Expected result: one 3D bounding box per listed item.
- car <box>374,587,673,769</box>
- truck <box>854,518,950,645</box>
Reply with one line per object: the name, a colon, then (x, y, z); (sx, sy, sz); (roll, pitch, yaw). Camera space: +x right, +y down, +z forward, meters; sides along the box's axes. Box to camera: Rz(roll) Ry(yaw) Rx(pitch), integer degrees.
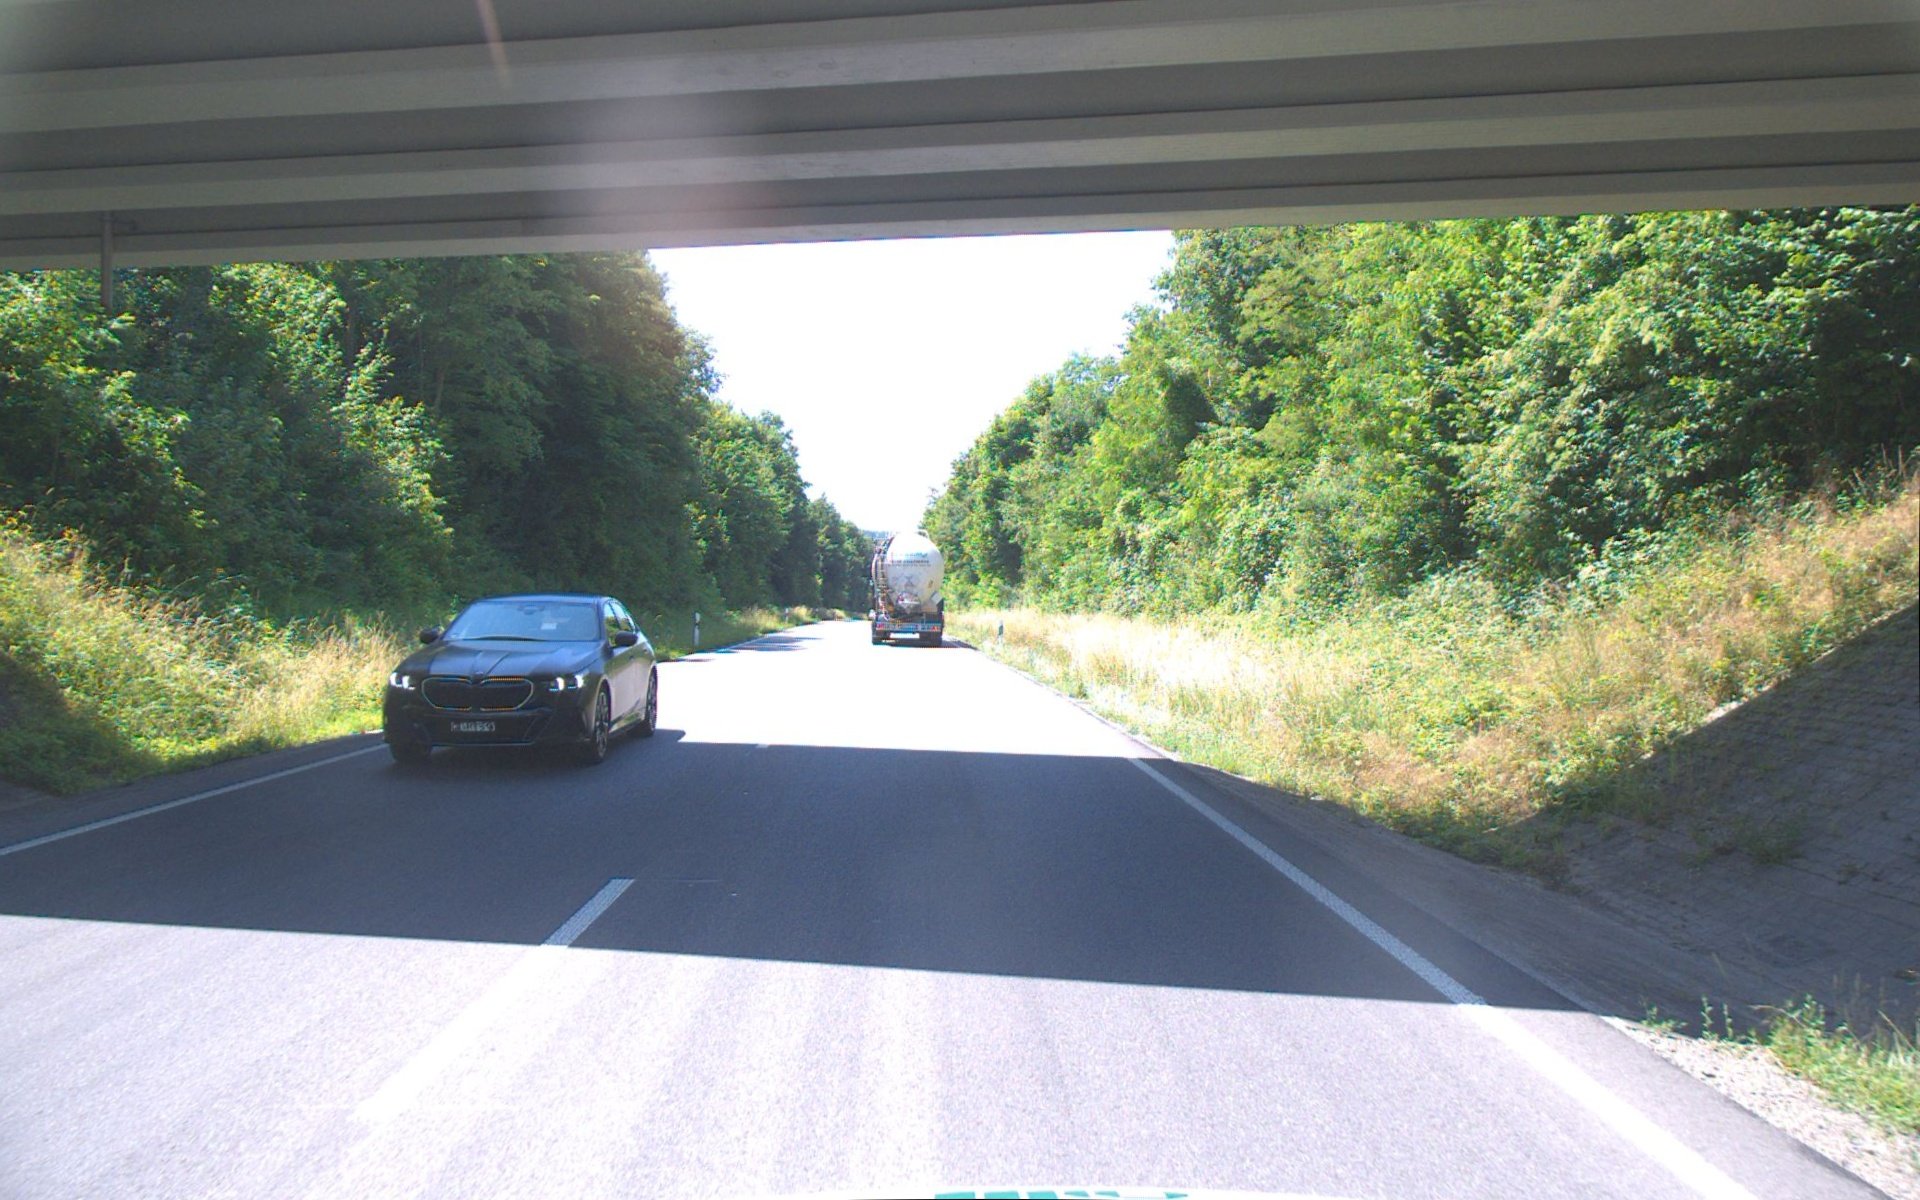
car: (-4.095, 0.663, 16.328); (1.821, 1.532, 4.585); (1, 0, -1)
truck: (-2.323, -0.511, 62.972); (2.989, 4.068, 15.625); (3, -1, -3)
